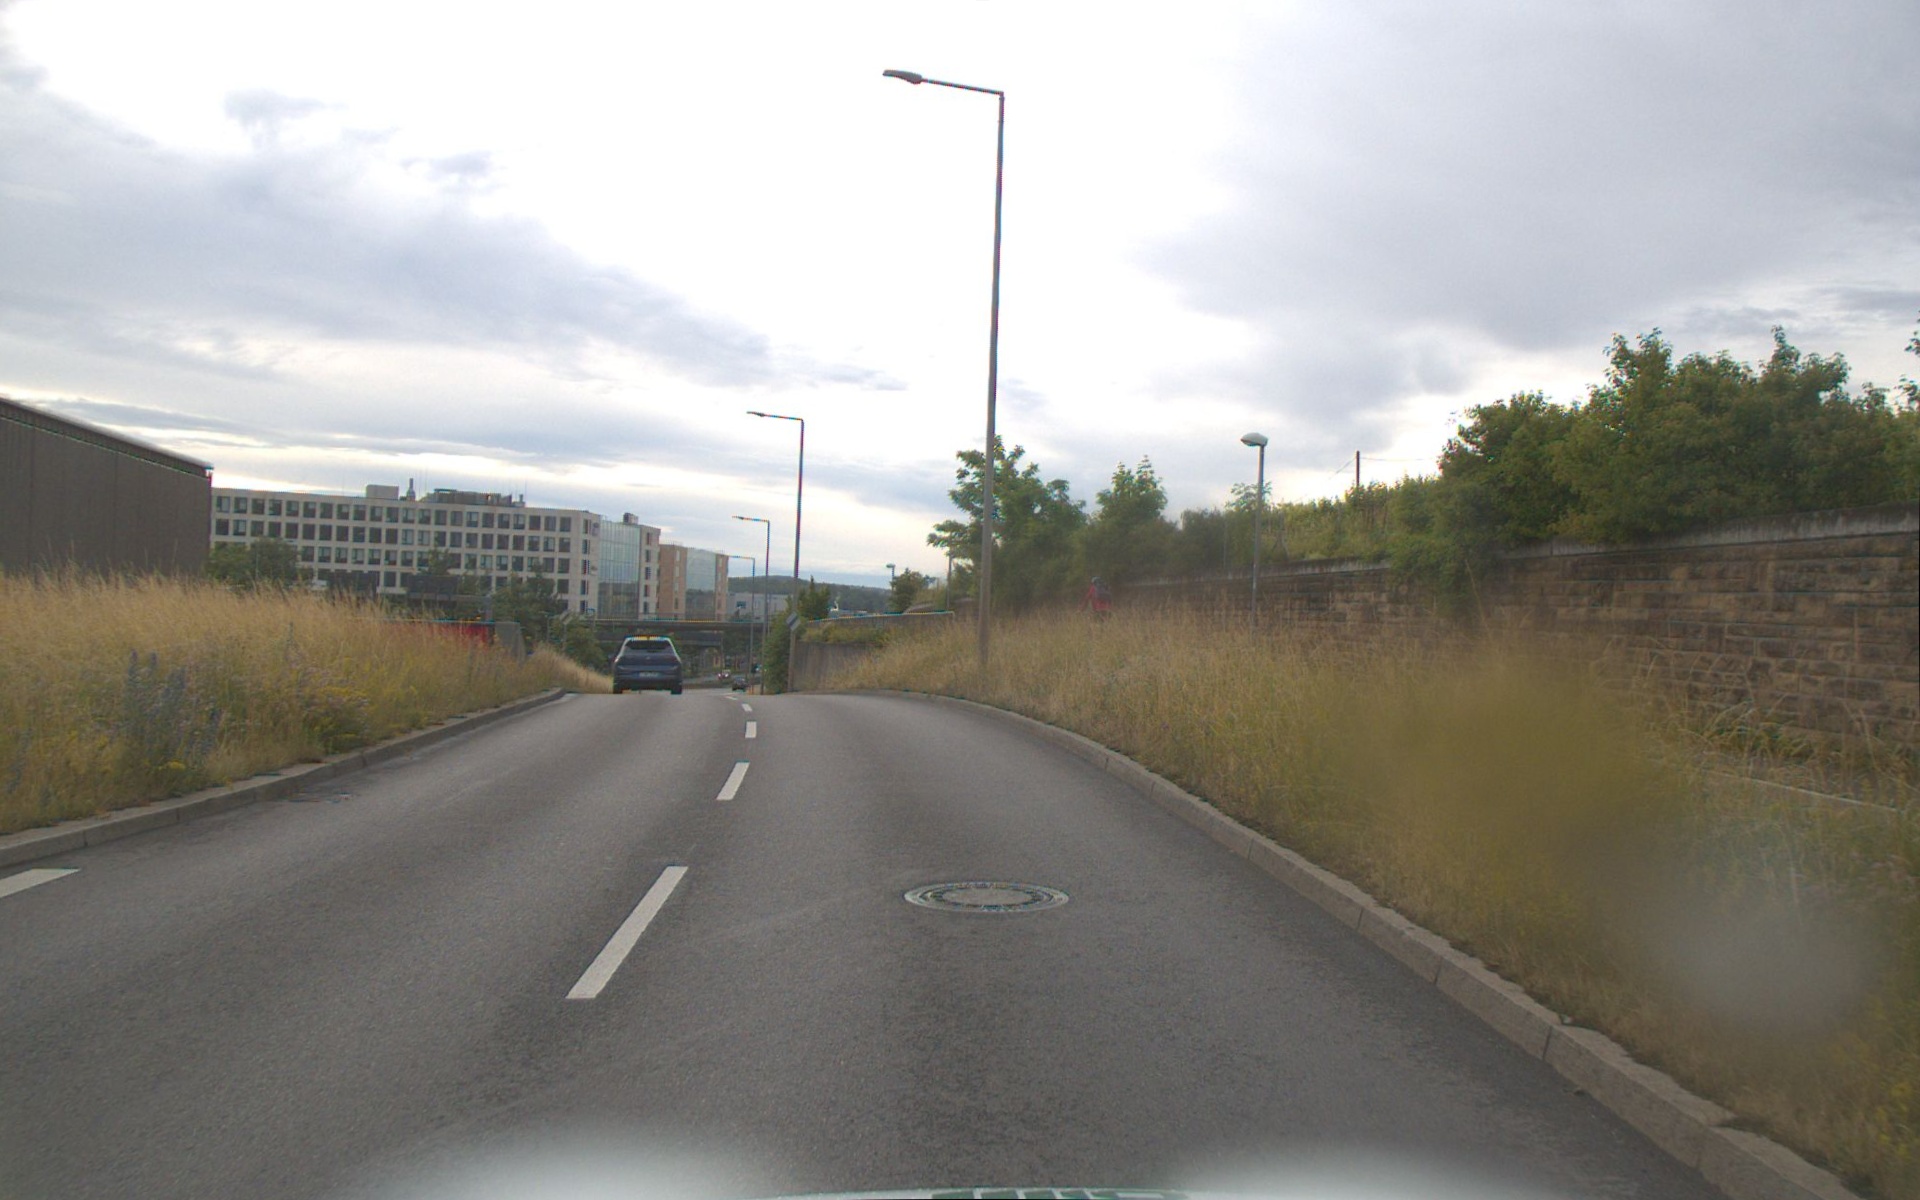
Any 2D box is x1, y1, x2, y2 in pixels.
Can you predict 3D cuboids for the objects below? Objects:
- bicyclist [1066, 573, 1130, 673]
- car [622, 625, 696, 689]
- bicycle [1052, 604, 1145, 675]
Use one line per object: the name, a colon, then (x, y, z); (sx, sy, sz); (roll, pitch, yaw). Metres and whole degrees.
bicyclist: (2.802, 0.461, 33.652); (0.854, 1.942, 1.290); (4, -1, -12)
car: (-7.707, 1.426, 42.560); (1.716, 1.445, 3.471); (3, 0, -9)
bicycle: (2.781, 0.772, 33.732); (0.854, 1.310, 3.477); (4, -1, -12)
